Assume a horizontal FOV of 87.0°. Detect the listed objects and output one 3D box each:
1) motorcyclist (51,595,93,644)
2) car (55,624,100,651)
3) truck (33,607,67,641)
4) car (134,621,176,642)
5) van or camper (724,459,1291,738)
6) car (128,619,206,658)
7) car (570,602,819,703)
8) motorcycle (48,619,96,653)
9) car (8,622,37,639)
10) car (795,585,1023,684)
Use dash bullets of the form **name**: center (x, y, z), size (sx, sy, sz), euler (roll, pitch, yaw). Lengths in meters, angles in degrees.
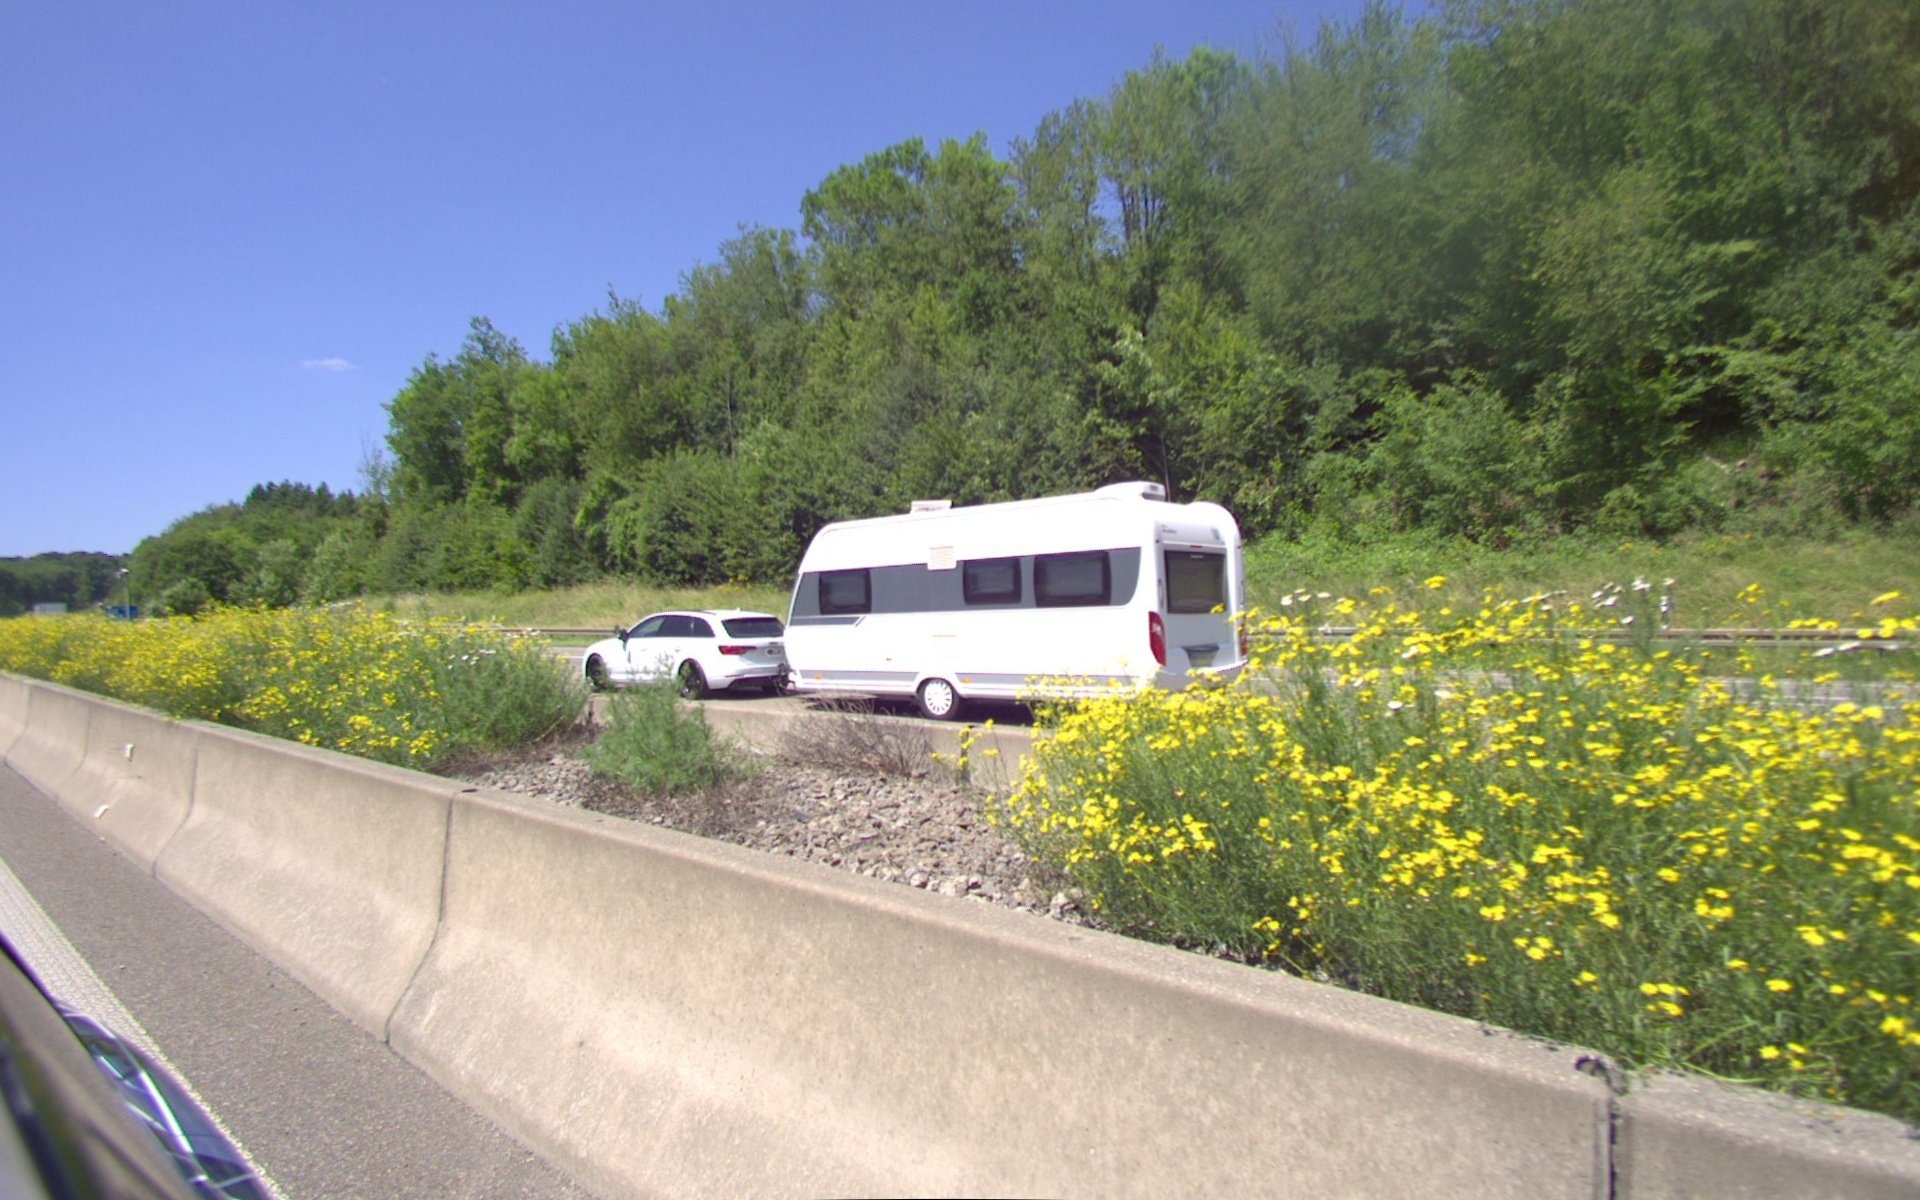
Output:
- **motorcyclist**: center (-33.582, 0.730, 38.261), size (1.283, 1.799, 1.021), euler (-2, -1, 41)
- **car**: center (-60.235, 2.521, 69.055), size (4.146, 1.746, 1.719), euler (-2, -1, 41)
- **truck**: center (-111.215, 2.957, 123.782), size (2.794, 3.968, 13.764), euler (-1, -1, -41)
- **car**: center (-68.604, 2.699, 86.231), size (4.765, 1.705, 1.973), euler (-2, -1, 42)
- **van or camper**: center (0.169, 0.053, 12.939), size (7.395, 2.656, 2.284), euler (-2, -1, 41)
- **car**: center (-33.775, 1.596, 43.060), size (4.355, 1.533, 1.820), euler (-2, -1, 41)
- **car**: center (-4.549, 0.818, 16.928), size (4.607, 1.450, 1.737), euler (-2, -1, 41)
- **motorcycle**: center (-33.643, 1.345, 38.317), size (2.612, 1.224, 1.029), euler (-2, -1, 41)
- **car**: center (-101.501, 3.273, 109.573), size (4.275, 1.768, 1.865), euler (-2, -1, 42)
- **car**: center (-1.075, 0.632, 19.575), size (4.420, 1.708, 1.737), euler (-2, -1, 41)
